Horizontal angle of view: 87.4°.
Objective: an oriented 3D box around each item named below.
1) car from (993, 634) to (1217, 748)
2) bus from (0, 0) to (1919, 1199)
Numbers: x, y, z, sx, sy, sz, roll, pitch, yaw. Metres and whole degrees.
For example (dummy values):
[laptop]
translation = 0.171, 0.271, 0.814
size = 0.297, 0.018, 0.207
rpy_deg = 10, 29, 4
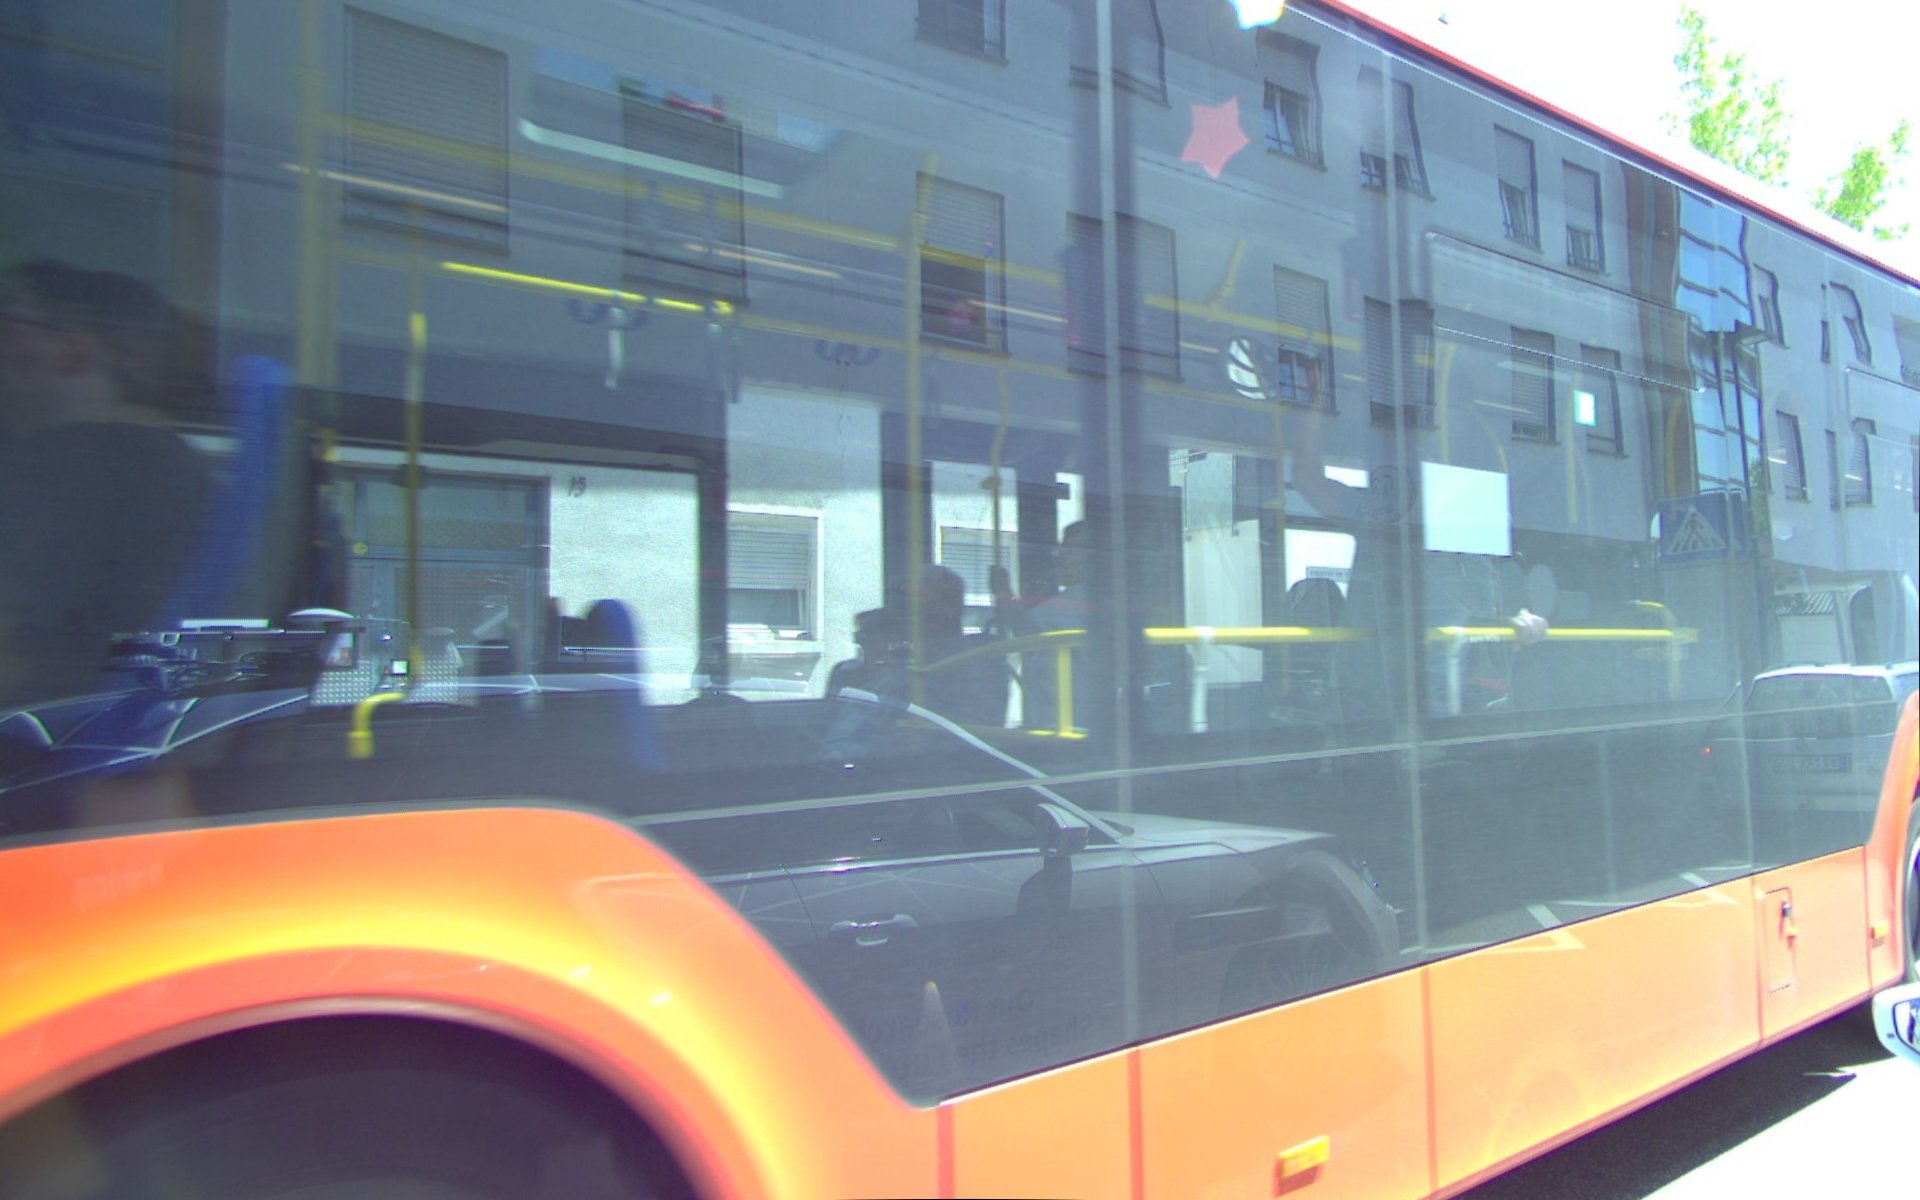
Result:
[car]
translation = 2.023, 1.235, 14.649
size = 1.571, 1.462, 3.094
rpy_deg = 1, -2, -35
[bus]
translation = 4.184, 0.070, 5.555
size = 17.600, 3.164, 2.656
rpy_deg = 1, -2, -31
